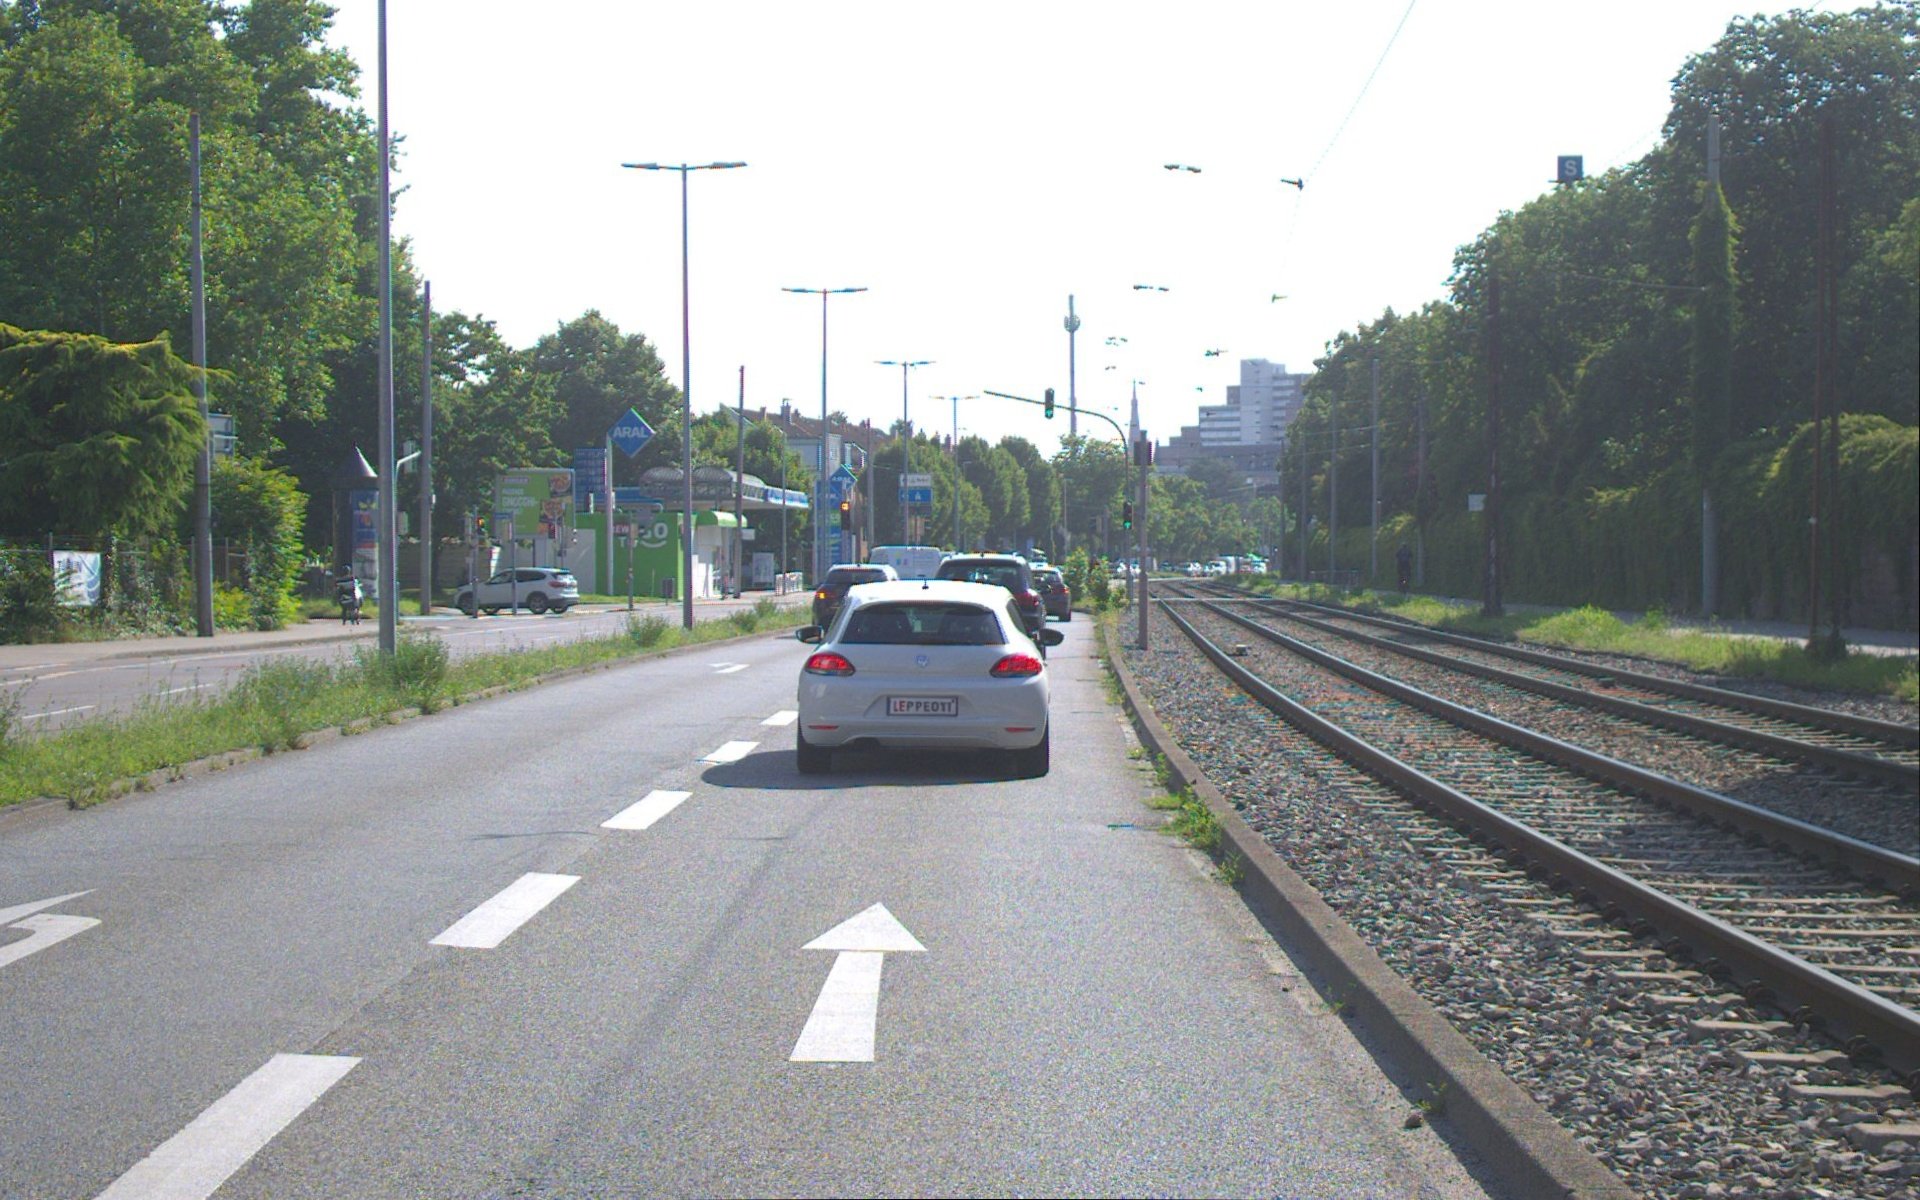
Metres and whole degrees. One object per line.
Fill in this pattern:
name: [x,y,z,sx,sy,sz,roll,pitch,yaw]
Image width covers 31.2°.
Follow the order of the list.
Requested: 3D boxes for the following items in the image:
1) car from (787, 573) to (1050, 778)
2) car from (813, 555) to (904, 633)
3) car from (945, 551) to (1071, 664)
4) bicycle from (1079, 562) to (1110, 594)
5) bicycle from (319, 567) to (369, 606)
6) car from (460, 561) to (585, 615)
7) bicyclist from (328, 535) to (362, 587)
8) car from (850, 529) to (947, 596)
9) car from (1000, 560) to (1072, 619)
car: [-0.283,0.505,25.482,1.781,1.351,3.601,1,1,0]
car: [-2.037,-0.145,69.890,1.760,1.480,4.645,1,1,-1]
car: [0.686,0.078,51.392,1.724,1.587,3.601,1,1,-1]
bicycle: [4.874,-0.790,124.710,0.644,1.150,1.935,0,1,17]
bicycle: [-17.112,-0.378,95.609,0.662,1.046,2.580,0,1,6]
car: [-15.214,-0.420,119.657,3.943,1.728,1.654,2,0,19]
bicyclist: [-17.111,-1.091,95.696,0.662,1.447,1.050,0,0,6]
car: [-1.866,-1.104,102.501,1.817,1.956,4.404,-1,0,-16]
car: [1.985,-0.283,90.776,1.749,1.480,3.601,1,1,-1]
